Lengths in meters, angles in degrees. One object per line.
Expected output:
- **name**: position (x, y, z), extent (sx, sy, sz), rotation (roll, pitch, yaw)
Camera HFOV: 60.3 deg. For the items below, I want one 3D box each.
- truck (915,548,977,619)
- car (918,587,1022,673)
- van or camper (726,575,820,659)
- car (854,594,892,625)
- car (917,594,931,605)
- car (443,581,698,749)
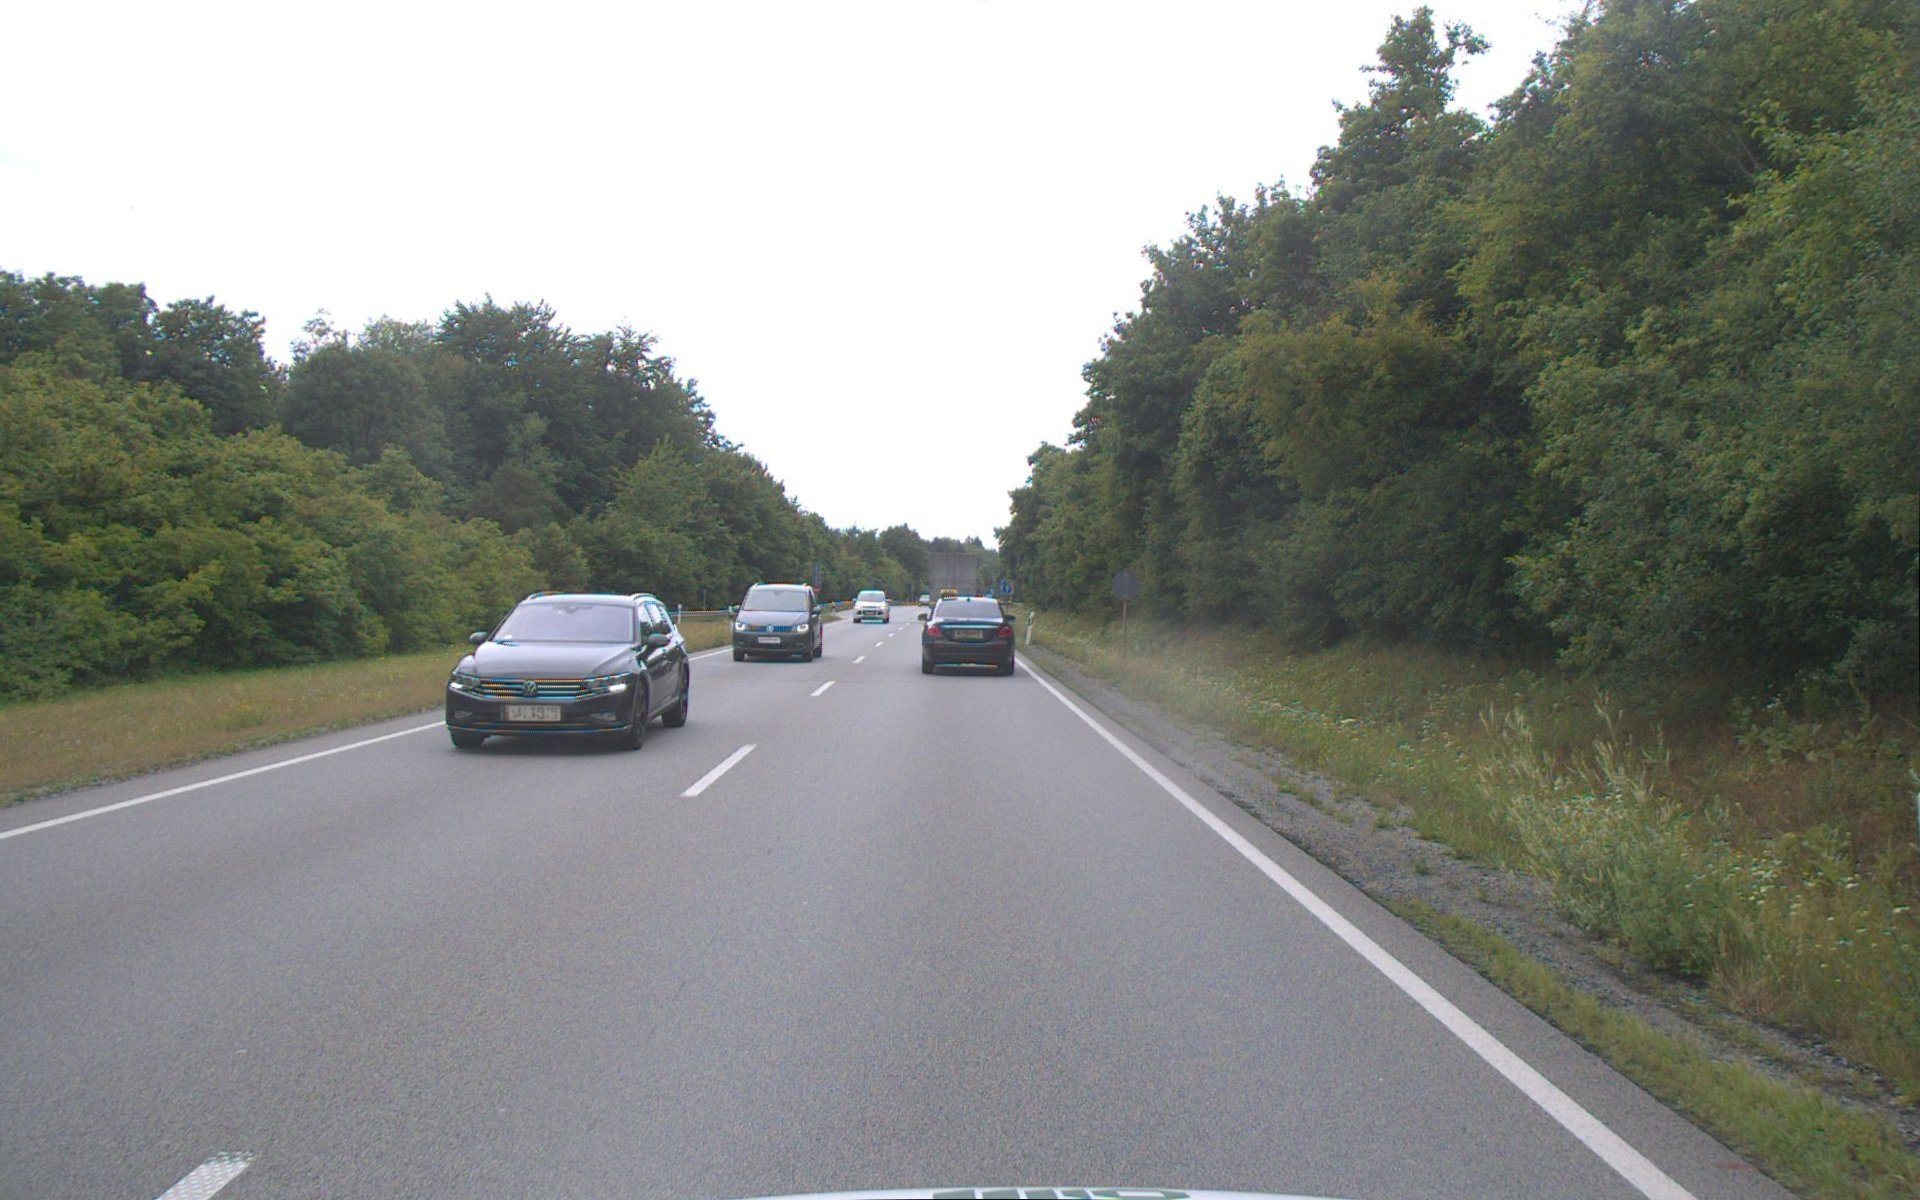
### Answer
- **truck**: position (-0.725, -0.879, 92.876), extent (3.214, 3.675, 11.399), rotation (1, 0, 0)
- **car**: position (0.146, 0.552, 32.860), extent (1.756, 1.579, 3.997), rotation (1, 0, -4)
- **van or camper**: position (-4.252, 0.370, 38.147), extent (1.954, 1.814, 4.418), rotation (1, 0, -4)
- **car**: position (-4.653, 0.482, 88.935), extent (1.837, 1.587, 3.754), rotation (1, 0, -1)
- **car**: position (-4.710, -0.059, 214.936), extent (1.772, 1.467, 4.446), rotation (1, 0, -2)
- **car**: position (-3.900, 0.596, 17.291), extent (1.654, 1.505, 4.455), rotation (1, 0, -1)
